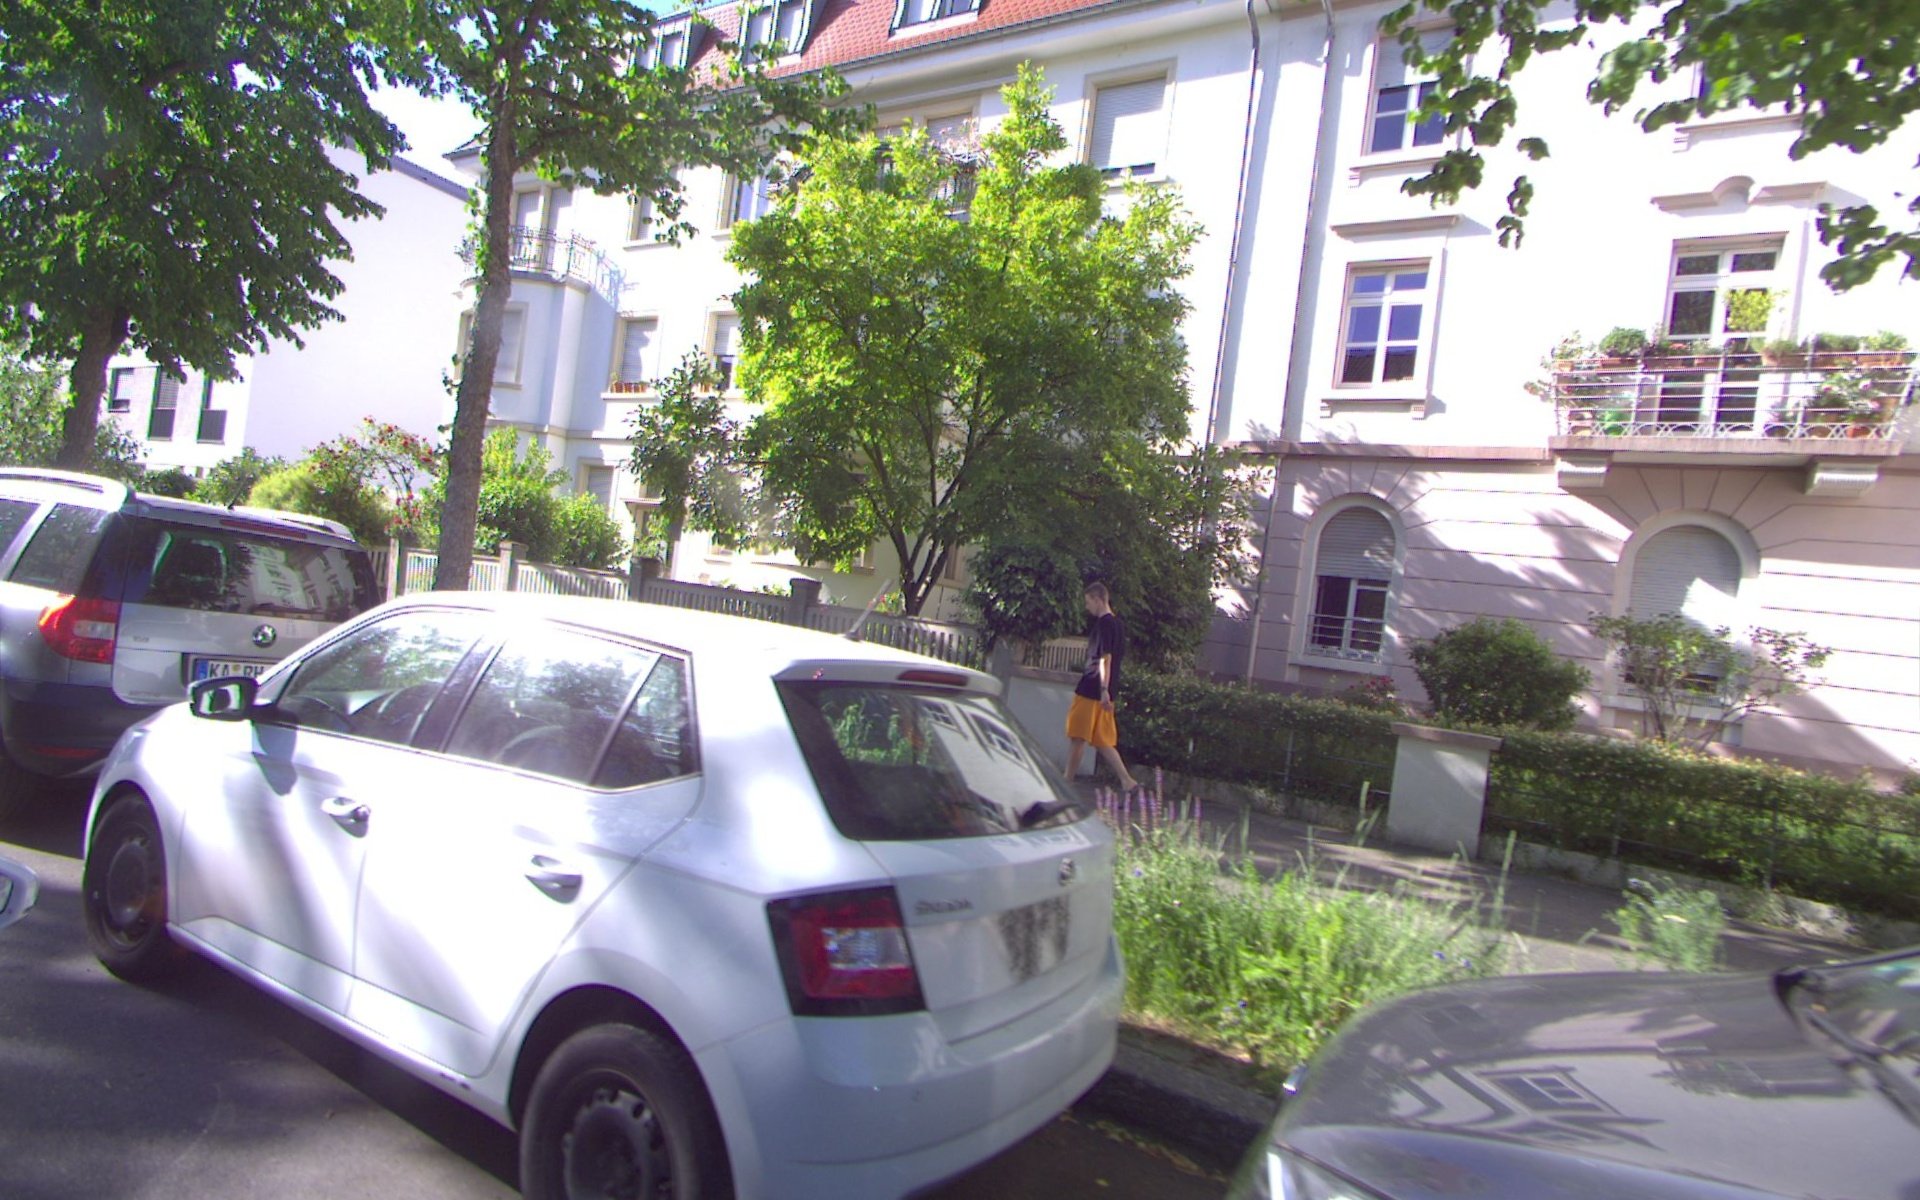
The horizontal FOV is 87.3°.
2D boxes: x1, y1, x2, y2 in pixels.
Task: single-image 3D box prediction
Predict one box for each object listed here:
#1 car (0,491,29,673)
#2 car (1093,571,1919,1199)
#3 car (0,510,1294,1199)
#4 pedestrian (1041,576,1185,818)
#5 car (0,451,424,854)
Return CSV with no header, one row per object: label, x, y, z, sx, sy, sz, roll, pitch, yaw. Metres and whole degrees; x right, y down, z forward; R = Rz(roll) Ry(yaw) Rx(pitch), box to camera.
car,-9.517,-0.371,8.288,3.551,1.446,1.652,7,0,30
car,2.525,1.089,1.057,4.459,1.605,1.689,7,-2,30
car,-1.350,0.656,3.344,4.295,1.443,1.631,7,0,32
pedestrian,1.250,0.763,8.195,0.786,1.797,0.623,7,1,32
car,-5.140,0.093,5.833,3.780,1.675,1.652,7,0,29
